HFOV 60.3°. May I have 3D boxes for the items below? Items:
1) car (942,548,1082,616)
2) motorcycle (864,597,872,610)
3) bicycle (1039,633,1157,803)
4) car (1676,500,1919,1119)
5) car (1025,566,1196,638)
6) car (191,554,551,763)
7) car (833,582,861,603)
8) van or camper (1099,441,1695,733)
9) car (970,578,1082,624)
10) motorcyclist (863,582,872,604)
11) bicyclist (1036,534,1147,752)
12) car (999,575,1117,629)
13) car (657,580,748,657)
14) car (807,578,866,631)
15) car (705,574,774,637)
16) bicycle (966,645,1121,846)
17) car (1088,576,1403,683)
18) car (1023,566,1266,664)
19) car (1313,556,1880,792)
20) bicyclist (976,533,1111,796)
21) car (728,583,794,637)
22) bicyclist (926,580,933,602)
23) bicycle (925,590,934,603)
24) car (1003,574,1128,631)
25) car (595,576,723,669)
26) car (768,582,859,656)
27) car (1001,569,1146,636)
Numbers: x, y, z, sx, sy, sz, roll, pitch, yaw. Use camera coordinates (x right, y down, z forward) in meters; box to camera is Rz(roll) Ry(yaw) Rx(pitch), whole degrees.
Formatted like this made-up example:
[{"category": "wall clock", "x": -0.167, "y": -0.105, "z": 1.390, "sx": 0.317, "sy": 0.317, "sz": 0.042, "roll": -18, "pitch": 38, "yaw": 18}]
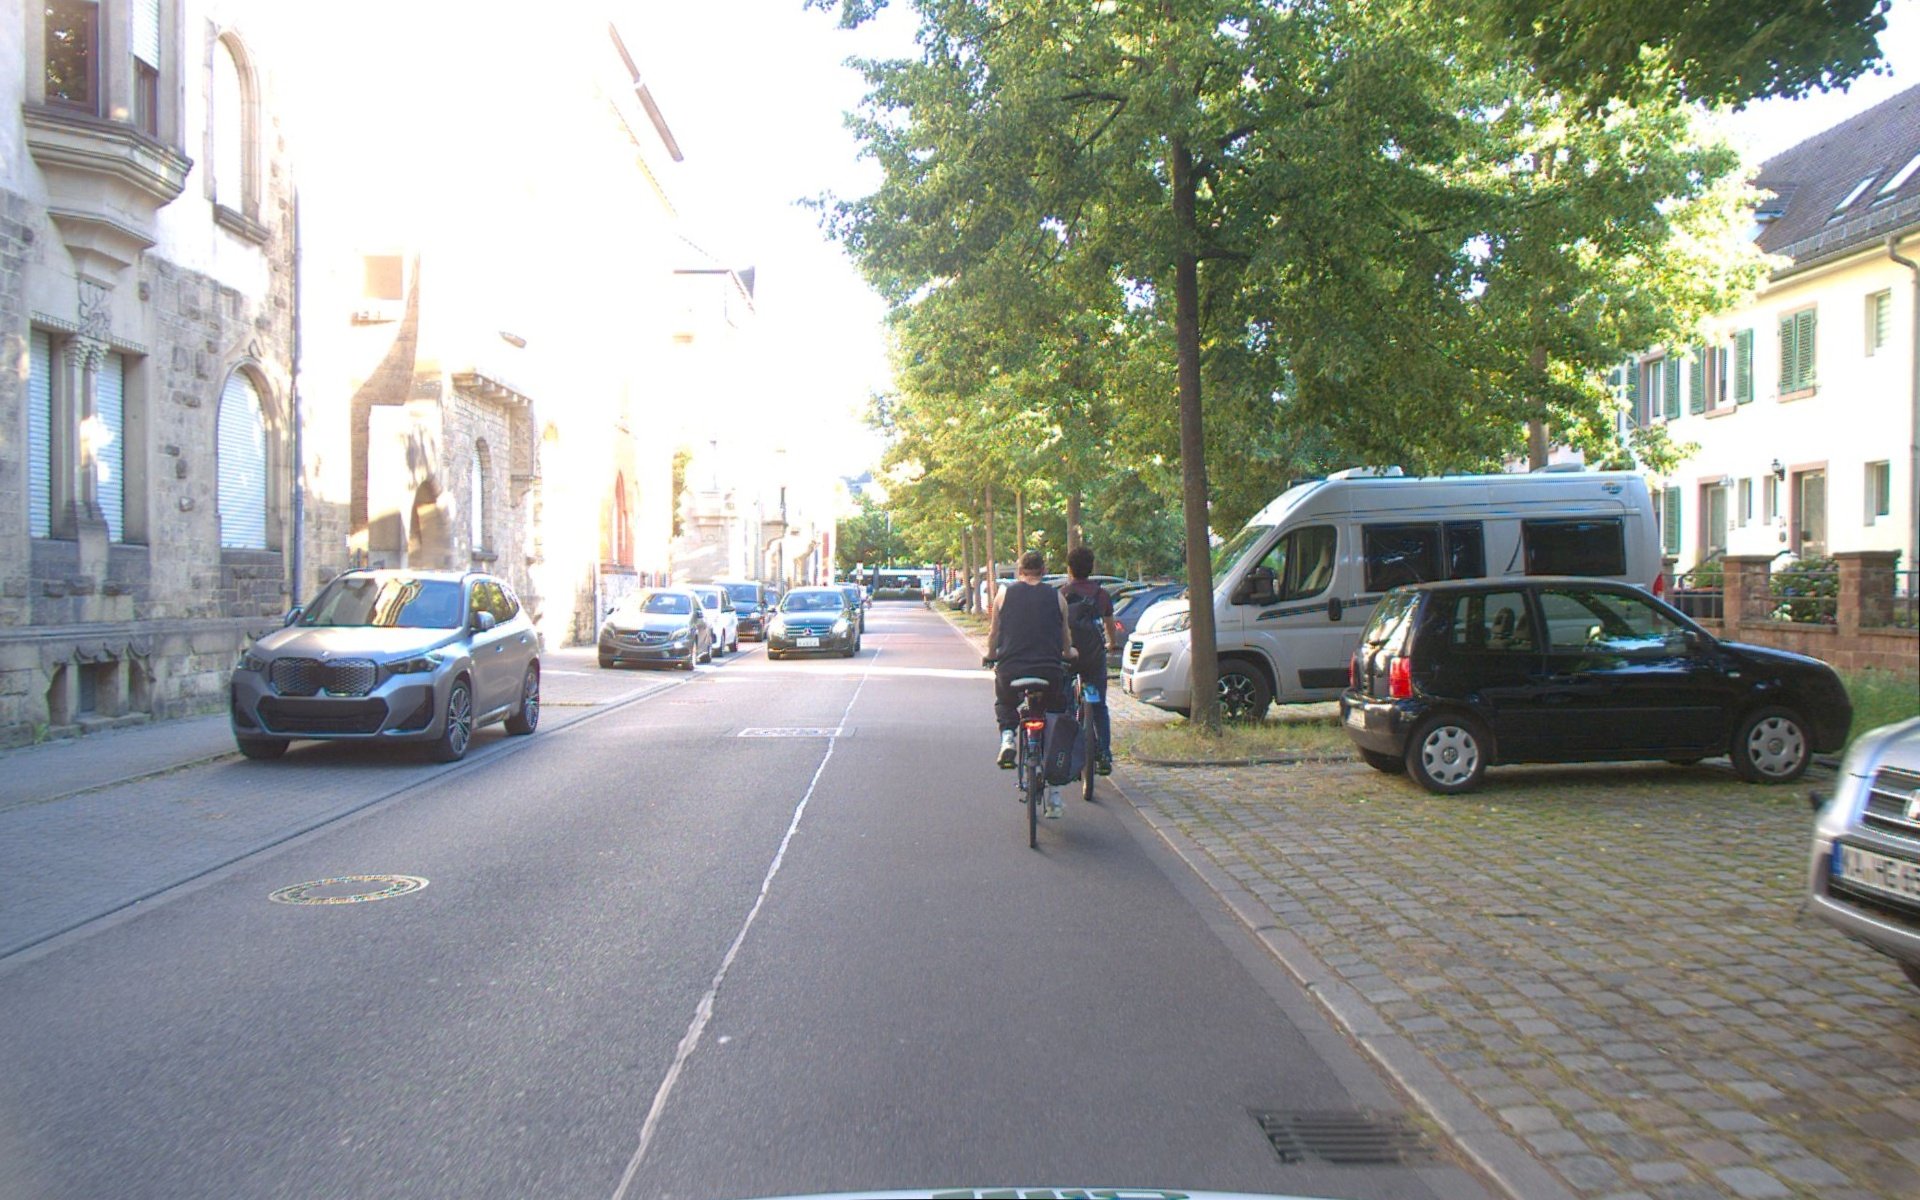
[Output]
[{"category": "car", "x": 2.690, "y": -0.941, "z": 87.074, "sx": 7.183, "sy": 3.339, "sz": 2.223, "roll": -2, "pitch": -1, "yaw": -1}, {"category": "motorcycle", "x": -6.074, "y": 0.211, "z": 109.032, "sx": 0.540, "sy": 0.815, "sz": 1.307, "roll": -1, "pitch": 1, "yaw": -4}, {"category": "bicycle", "x": 0.982, "y": 0.818, "z": 12.178, "sx": 0.544, "sy": 1.091, "sz": 1.967, "roll": 0, "pitch": 0, "yaw": -5}, {"category": "car", "x": 4.769, "y": 0.457, "z": 4.942, "sx": 4.387, "sy": 1.698, "sz": 1.941, "roll": -3, "pitch": 1, "yaw": -4}, {"category": "car", "x": 3.812, "y": 0.065, "z": 42.353, "sx": 4.157, "sy": 1.676, "sz": 1.854, "roll": -2, "pitch": -1, "yaw": -1}, {"category": "car", "x": -5.222, "y": 0.482, "z": 15.360, "sx": 2.009, "sy": 1.650, "sz": 4.392, "roll": 0, "pitch": -1, "yaw": -4}, {"category": "car", "x": -8.647, "y": -0.564, "z": 126.851, "sx": 1.953, "sy": 1.557, "sz": 3.998, "roll": 0, "pitch": -1, "yaw": -2}, {"category": "van or camper", "x": 4.359, "y": -0.134, "z": 17.170, "sx": 5.464, "sy": 2.581, "sz": 2.267, "roll": -3, "pitch": -1, "yaw": -4}, {"category": "car", "x": 2.776, "y": 0.051, "z": 70.357, "sx": 4.660, "sy": 1.811, "sz": 1.854, "roll": -2, "pitch": -1, "yaw": -1}, {"category": "motorcyclist", "x": -6.072, "y": -0.469, "z": 108.791, "sx": 0.540, "sy": 1.474, "sz": 0.687, "roll": -1, "pitch": 0, "yaw": -4}, {"category": "bicyclist", "x": 0.963, "y": 0.309, "z": 12.300, "sx": 0.704, "sy": 1.553, "sz": 0.971, "roll": 0, "pitch": -1, "yaw": -3}, {"category": "car", "x": 3.549, "y": 0.088, "z": 60.354, "sx": 4.157, "sy": 1.828, "sz": 1.854, "roll": -2, "pitch": -1, "yaw": -1}, {"category": "car", "x": -5.718, "y": 0.392, "z": 37.074, "sx": 1.461, "sy": 1.543, "sz": 3.773, "roll": 4, "pitch": 0, "yaw": -2}, {"category": "car", "x": -4.119, "y": 0.157, "z": 55.553, "sx": 1.731, "sy": 1.627, "sz": 4.088, "roll": -3, "pitch": 0, "yaw": -2}, {"category": "car", "x": -6.139, "y": 0.162, "z": 46.389, "sx": 1.598, "sy": 1.694, "sz": 3.966, "roll": 0, "pitch": -1, "yaw": -3}, {"category": "bicycle", "x": 0.479, "y": 0.847, "z": 10.350, "sx": 0.682, "sy": 1.091, "sz": 1.966, "roll": 0, "pitch": -1, "yaw": -6}, {"category": "car", "x": 4.213, "y": 0.429, "z": 24.877, "sx": 4.410, "sy": 1.478, "sz": 1.816, "roll": -1, "pitch": 0, "yaw": -1}, {"category": "car", "x": 3.347, "y": 0.278, "z": 30.453, "sx": 4.160, "sy": 1.634, "sz": 1.752, "roll": -2, "pitch": -1, "yaw": -5}, {"category": "car", "x": 4.511, "y": 0.503, "z": 12.077, "sx": 3.431, "sy": 1.498, "sz": 1.750, "roll": -2, "pitch": -1, "yaw": -3}, {"category": "bicyclist", "x": 0.500, "y": 0.384, "z": 10.282, "sx": 0.692, "sy": 1.553, "sz": 0.971, "roll": 0, "pitch": -1, "yaw": -6}, {"category": "car", "x": -6.191, "y": 0.305, "z": 51.813, "sx": 1.583, "sy": 1.508, "sz": 4.017, "roll": 4, "pitch": 0, "yaw": -2}, {"category": "bicyclist", "x": -1.964, "y": -0.568, "z": 105.762, "sx": 0.408, "sy": 1.374, "sz": 0.430, "roll": 0, "pitch": -1, "yaw": -2}, {"category": "bicycle", "x": -1.966, "y": -0.218, "z": 105.592, "sx": 0.530, "sy": 0.842, "sz": 1.918, "roll": 0, "pitch": -1, "yaw": -2}, {"category": "car", "x": 3.641, "y": 0.102, "z": 57.544, "sx": 4.157, "sy": 1.828, "sz": 1.854, "roll": -2, "pitch": -1, "yaw": -1}, {"category": "car", "x": -5.669, "y": 0.409, "z": 31.611, "sx": 1.720, "sy": 1.543, "sz": 4.113, "roll": 4, "pitch": 0, "yaw": -2}, {"category": "car", "x": -3.169, "y": 0.403, "z": 36.041, "sx": 1.859, "sy": 1.512, "sz": 4.377, "roll": 0, "pitch": -1, "yaw": -5}, {"category": "car", "x": 3.376, "y": 0.073, "z": 49.749, "sx": 4.157, "sy": 1.872, "sz": 1.854, "roll": -2, "pitch": -1, "yaw": -1}]
